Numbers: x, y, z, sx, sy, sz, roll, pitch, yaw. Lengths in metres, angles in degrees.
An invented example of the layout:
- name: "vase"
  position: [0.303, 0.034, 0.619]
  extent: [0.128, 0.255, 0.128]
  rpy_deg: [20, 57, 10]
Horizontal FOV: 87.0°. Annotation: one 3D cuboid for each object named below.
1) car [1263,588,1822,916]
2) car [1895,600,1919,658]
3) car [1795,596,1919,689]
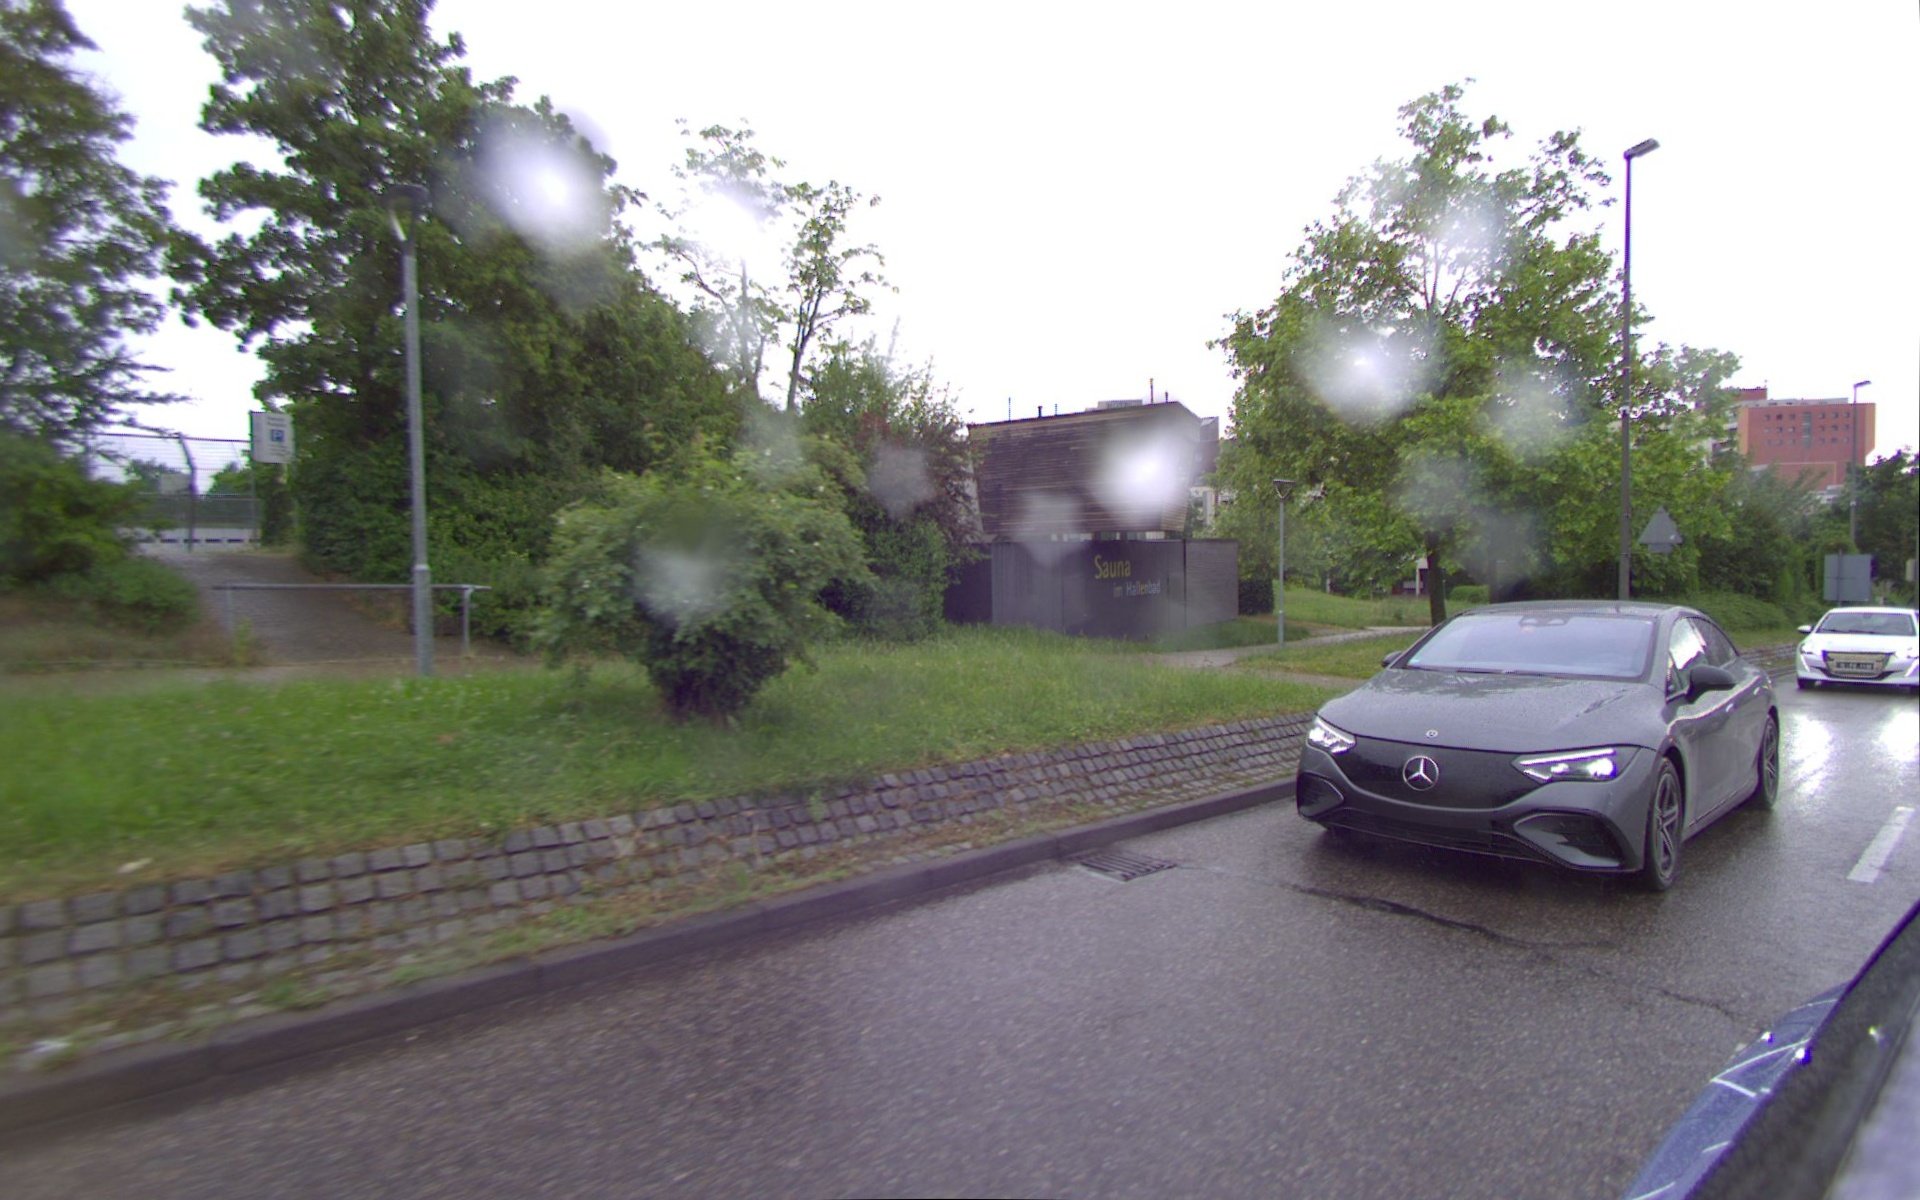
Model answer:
- name: "car"
  position: [4.112, 0.685, 6.789]
  extent: [4.471, 1.462, 1.835]
  rpy_deg: [-1, 0, -40]
- name: "car"
  position: [25.569, 0.718, 26.019]
  extent: [3.668, 1.394, 1.717]
  rpy_deg: [-1, 0, -39]
- name: "car"
  position: [16.488, 0.680, 18.016]
  extent: [3.963, 1.415, 1.717]
  rpy_deg: [-1, 0, -39]
